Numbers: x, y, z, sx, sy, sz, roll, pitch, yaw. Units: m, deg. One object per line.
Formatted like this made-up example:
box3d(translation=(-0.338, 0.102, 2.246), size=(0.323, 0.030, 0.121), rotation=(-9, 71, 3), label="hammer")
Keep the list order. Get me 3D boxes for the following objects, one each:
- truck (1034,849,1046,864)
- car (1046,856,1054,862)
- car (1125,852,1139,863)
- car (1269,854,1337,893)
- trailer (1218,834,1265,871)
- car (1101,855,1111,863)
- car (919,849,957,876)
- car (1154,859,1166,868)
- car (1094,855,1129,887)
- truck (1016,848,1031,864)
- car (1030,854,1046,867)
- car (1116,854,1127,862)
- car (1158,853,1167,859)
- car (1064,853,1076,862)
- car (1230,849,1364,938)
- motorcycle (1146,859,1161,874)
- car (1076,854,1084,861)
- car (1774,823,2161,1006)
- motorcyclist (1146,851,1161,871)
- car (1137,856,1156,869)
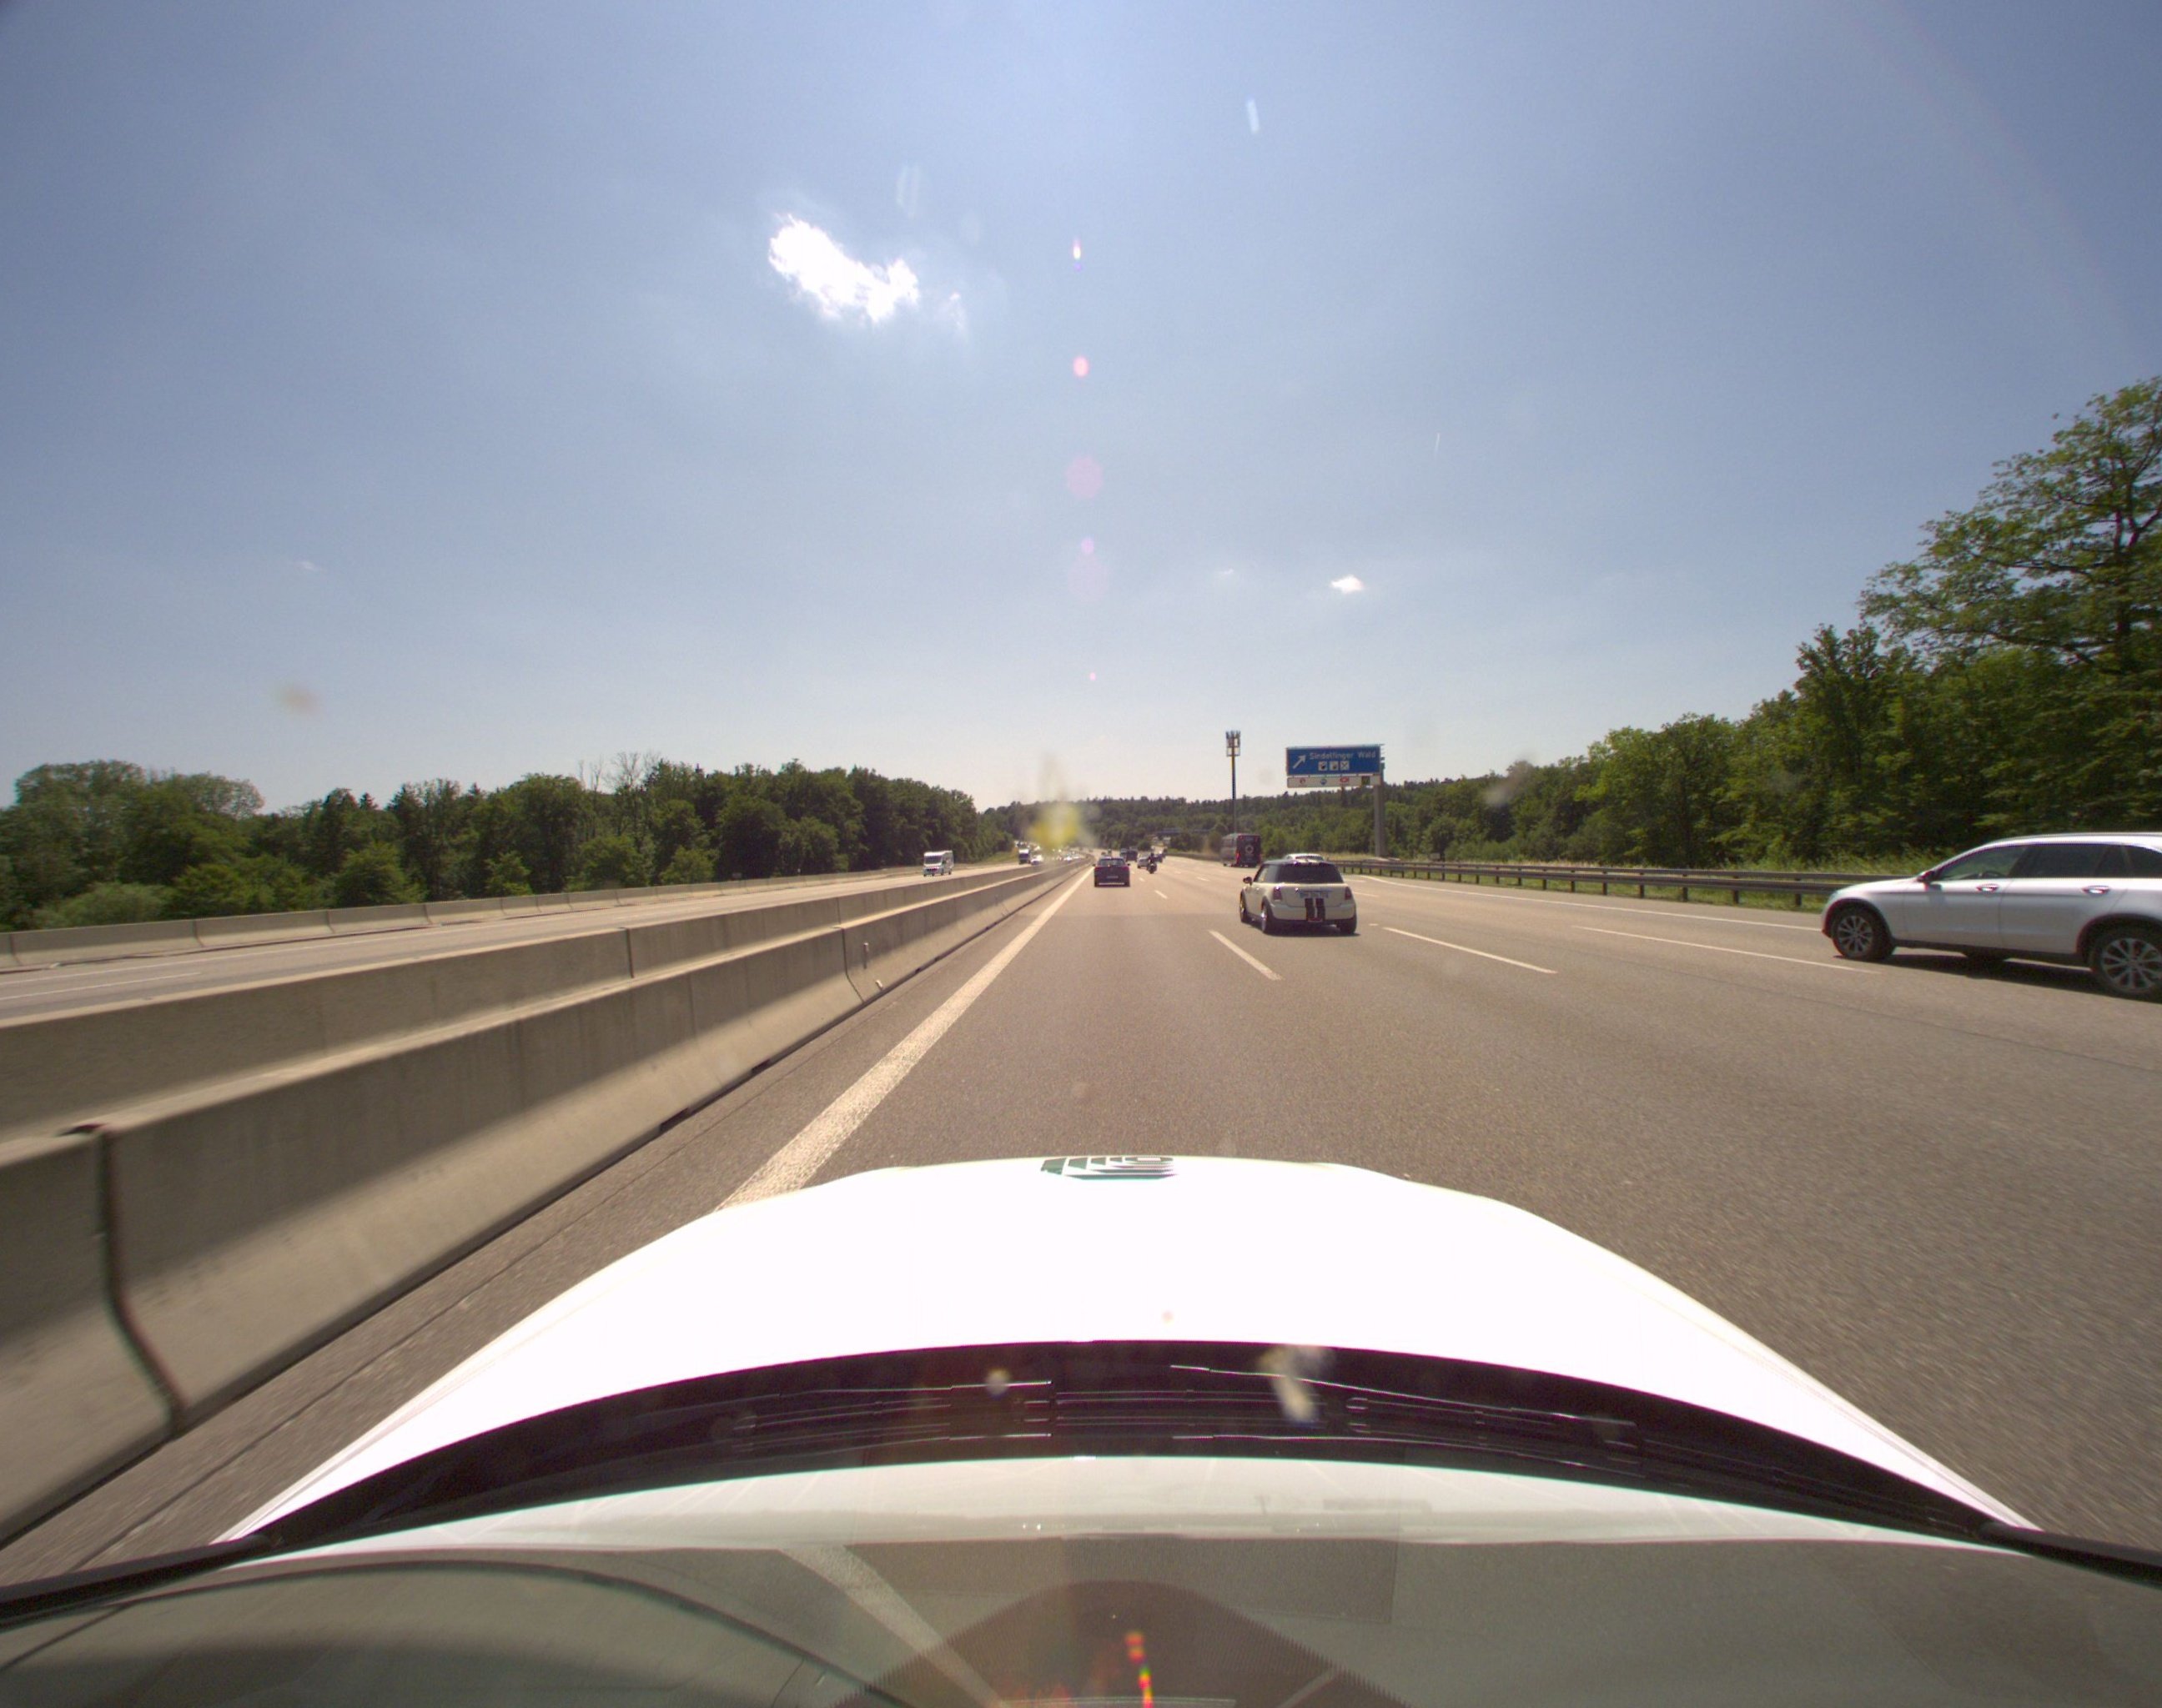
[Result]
box3d(translation=(-11.396, 0.735, 226.594), size=(2.705, 4.099, 7.879), rotation=(-3, 0, 1), label="truck")
box3d(translation=(-8.403, 1.397, 220.560), size=(1.791, 1.376, 4.533), rotation=(-3, 0, 2), label="car")
box3d(translation=(8.457, 0.587, 134.556), size=(2.090, 1.851, 4.082), rotation=(-2, 0, 1), label="car")
box3d(translation=(8.955, 0.726, 33.188), size=(1.660, 1.433, 4.376), rotation=(-2, 0, 1), label="car")
box3d(translation=(17.533, -0.119, 90.087), size=(2.847, 3.688, 13.547), rotation=(-2, 0, 2), label="trailer")
box3d(translation=(4.371, 0.888, 144.467), size=(1.532, 1.212, 3.457), rotation=(-2, 0, -2), label="car")
box3d(translation=(-15.393, 0.858, 88.152), size=(2.213, 2.659, 8.179), rotation=(-3, 0, 2), label="car")
box3d(translation=(12.528, 1.505, 129.079), size=(1.669, 1.431, 3.686), rotation=(-2, 0, 1), label="car")
box3d(translation=(1.471, 0.805, 39.484), size=(1.618, 1.487, 3.687), rotation=(-1, -1, 2), label="car")
box3d(translation=(-13.032, 0.433, 186.148), size=(2.530, 3.571, 8.579), rotation=(-2, 0, 1), label="truck")
box3d(translation=(-6.689, 1.018, 127.048), size=(1.986, 1.787, 5.320), rotation=(-3, 0, 2), label="car")
box3d(translation=(8.970, 0.914, 180.443), size=(1.989, 1.684, 4.420), rotation=(0, 1, -2), label="car")
box3d(translation=(17.723, 0.517, 177.167), size=(1.603, 1.212, 3.460), rotation=(-2, 0, 0), label="car")
box3d(translation=(-2.070, 0.645, 152.088), size=(1.842, 1.523, 5.320), rotation=(-3, 0, 2), label="car")
box3d(translation=(4.228, 0.695, 16.605), size=(1.834, 1.552, 4.003), rotation=(0, 1, 2), label="car")
box3d(translation=(5.583, 0.941, 62.469), size=(0.974, 1.129, 2.272), rotation=(-2, 0, 1), label="motorcycle")
box3d(translation=(-0.363, 0.874, 211.946), size=(1.766, 1.879, 5.215), rotation=(0, 1, 3), label="car")
box3d(translation=(11.186, 0.542, 9.551), size=(1.794, 1.731, 5.242), rotation=(0, 1, 2), label="car")
box3d(translation=(5.555, 0.548, 62.322), size=(0.959, 1.437, 1.235), rotation=(-3, 0, 0), label="motorcyclist")
box3d(translation=(6.547, 0.853, 81.825), size=(1.776, 1.265, 3.461), rotation=(-2, 0, 2), label="car")
